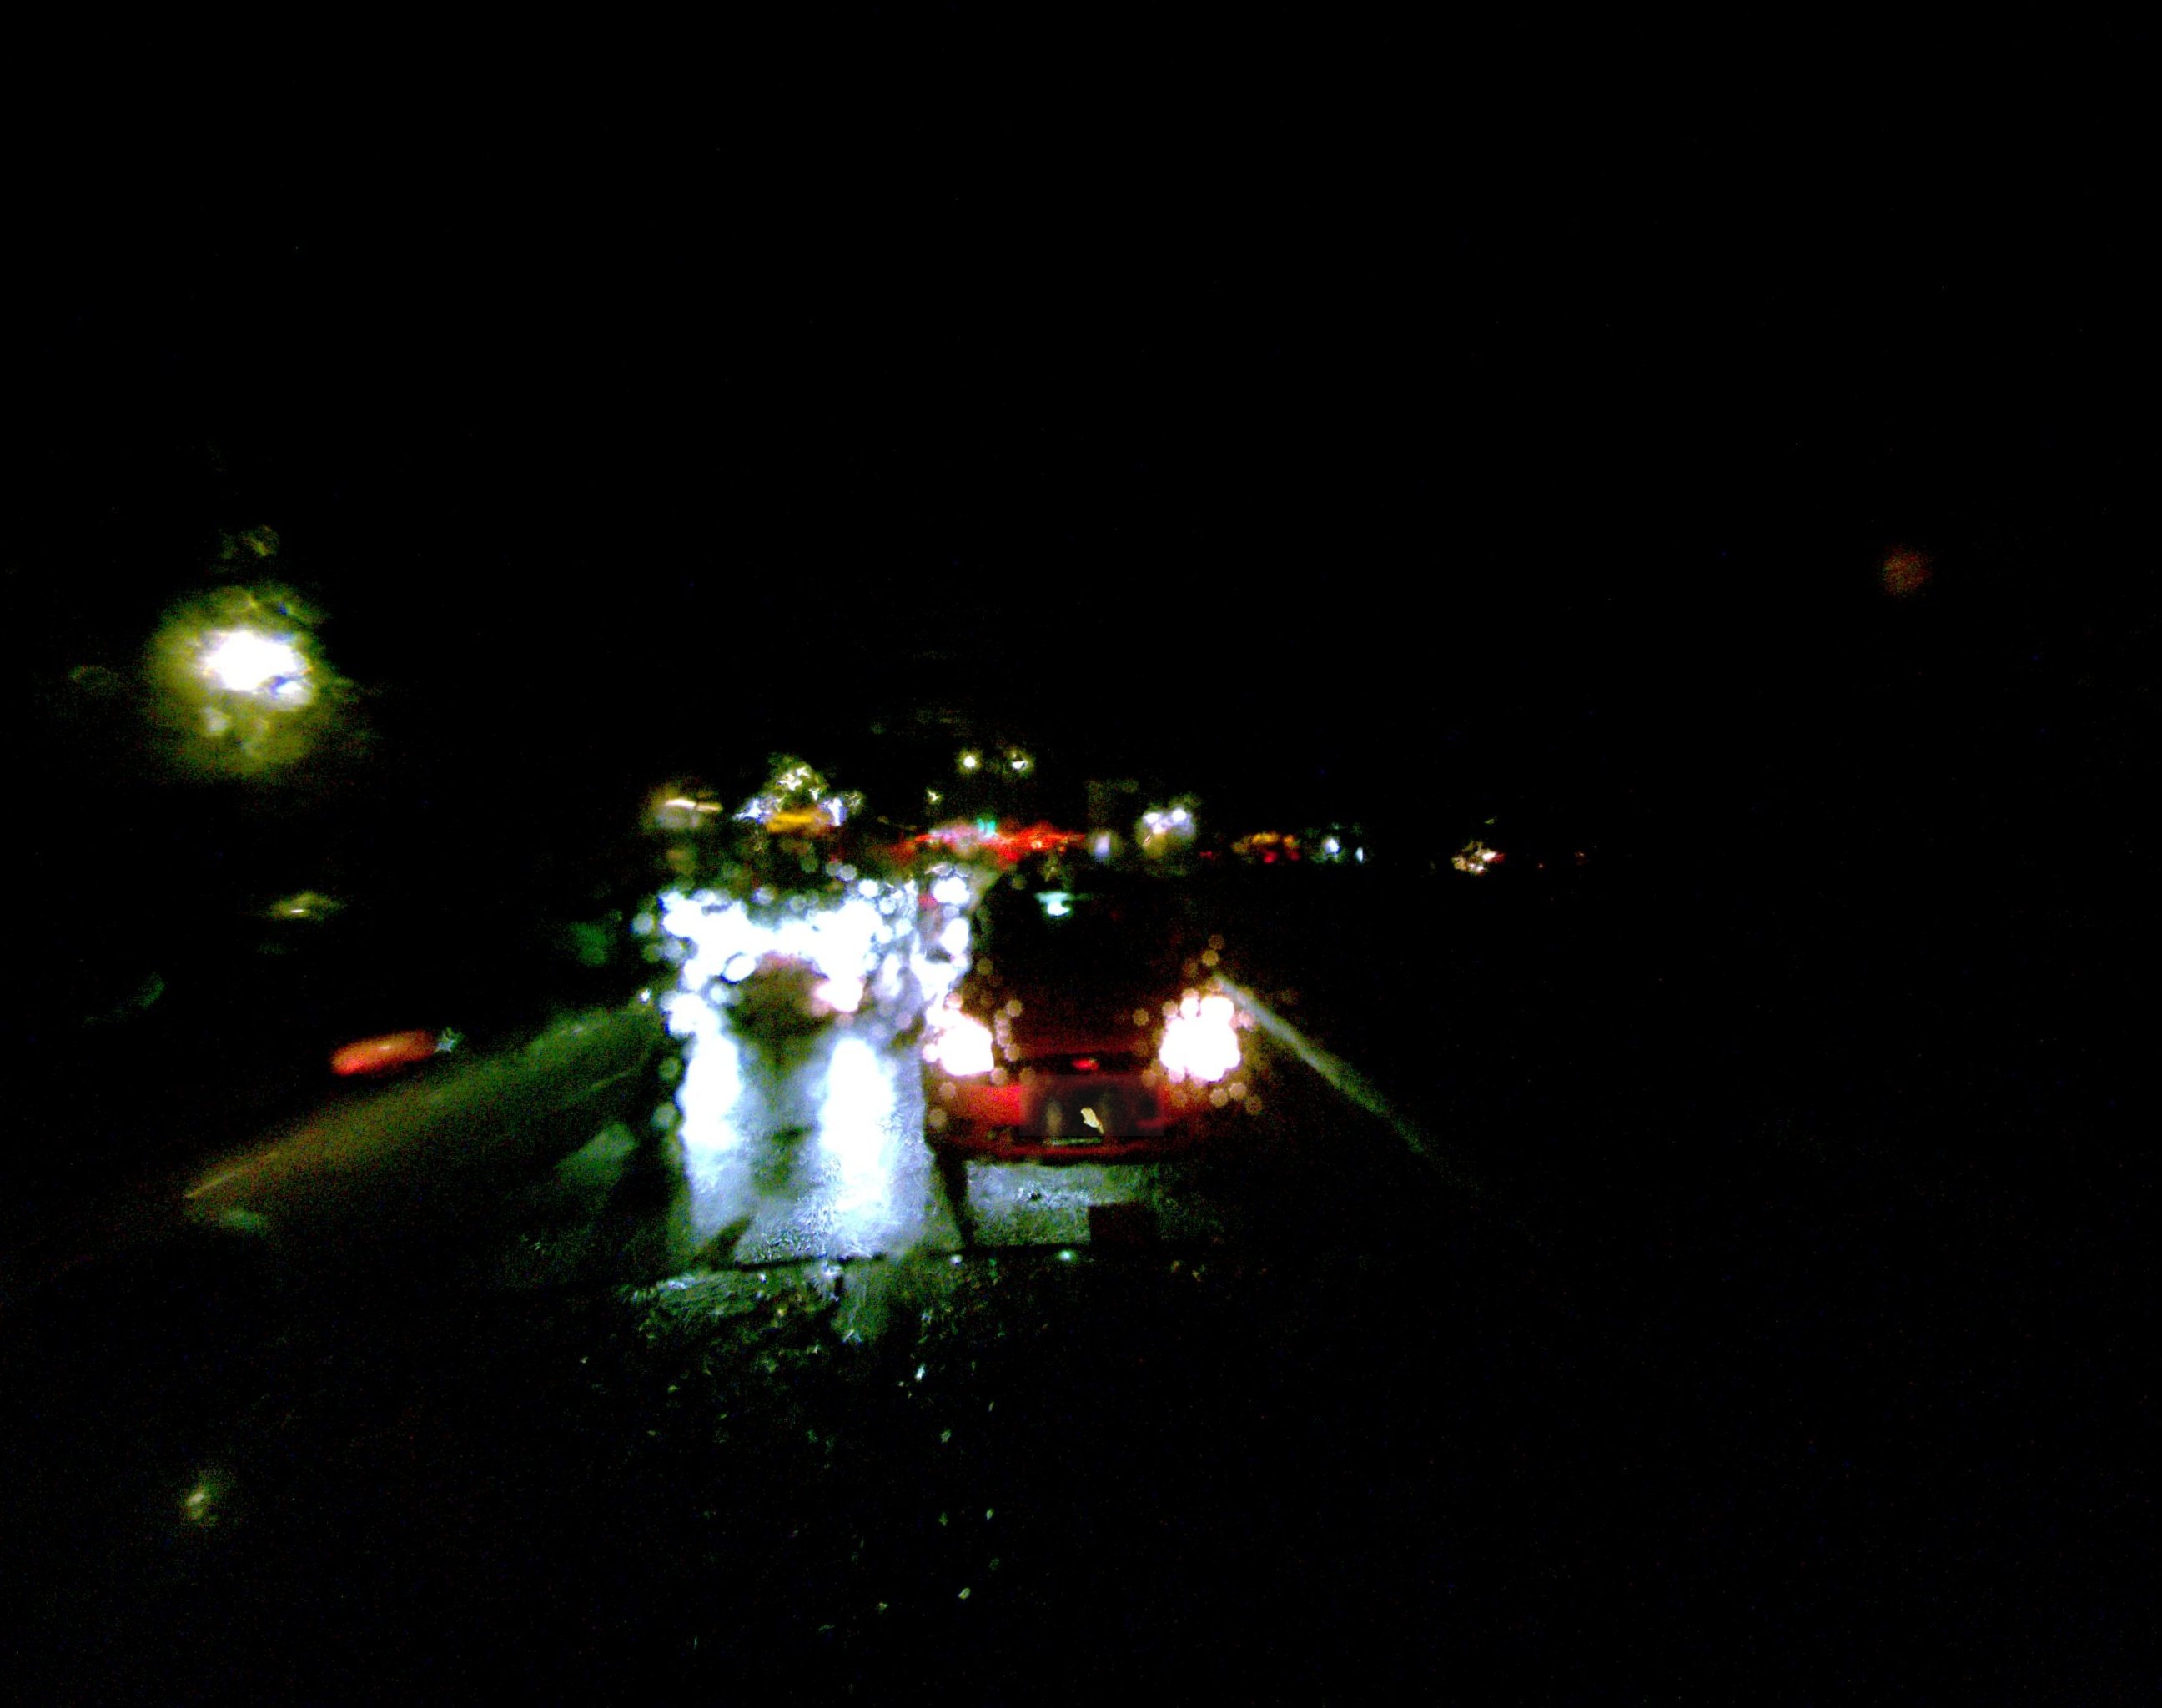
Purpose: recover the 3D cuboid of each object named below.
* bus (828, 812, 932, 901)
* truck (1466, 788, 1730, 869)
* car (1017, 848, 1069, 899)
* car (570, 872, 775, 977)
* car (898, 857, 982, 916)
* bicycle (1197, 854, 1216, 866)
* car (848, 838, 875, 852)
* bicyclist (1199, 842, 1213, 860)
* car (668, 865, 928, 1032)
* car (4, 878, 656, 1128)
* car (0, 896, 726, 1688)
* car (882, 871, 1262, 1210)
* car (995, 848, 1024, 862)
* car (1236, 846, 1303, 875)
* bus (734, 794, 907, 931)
[{"bbox_3d":[-8.357,0.026,32.944,2.742,3.219,9.693,-2,1,-6],"label":"bus"},{"bbox_3d":[31.407,-1.497,46.717,13.671,4.416,2.743,-1,1,7],"label":"truck"},{"bbox_3d":[-1.414,0.646,27.382,1.724,1.695,3.971,0,1,-4],"label":"car"},{"bbox_3d":[-7.131,1.134,13.817,1.725,1.478,4.160,0,1,-4],"label":"car"},{"bbox_3d":[-3.928,0.854,21.725,1.698,1.455,3.973,0,1,0],"label":"car"},{"bbox_3d":[9.809,0.473,59.629,0.629,0.899,2.210,-1,1,-15],"label":"bicycle"},{"bbox_3d":[-23.721,-0.959,81.920,1.712,1.382,3.990,-2,1,-32],"label":"car"},{"bbox_3d":[9.817,-0.230,59.562,0.630,1.427,1.187,-1,1,-15],"label":"bicyclist"},{"bbox_3d":[-3.308,0.997,9.844,1.724,1.478,4.161,-4,1,0],"label":"car"},{"bbox_3d":[-6.429,1.090,7.555,1.724,1.478,4.786,-1,1,0],"label":"car"},{"bbox_3d":[-3.148,1.031,2.782,1.724,1.438,4.161,-1,1,0],"label":"car"},{"bbox_3d":[-0.056,0.915,5.509,1.755,1.438,3.973,0,1,0],"label":"car"},{"bbox_3d":[-8.049,0.140,85.000,1.832,1.456,4.416,-2,1,-25],"label":"car"},{"bbox_3d":[10.100,0.303,41.055,2.041,1.478,4.495,0,1,-7],"label":"car"},{"bbox_3d":[-7.422,0.147,23.304,2.742,3.258,9.693,-2,1,-5],"label":"bus"}]
